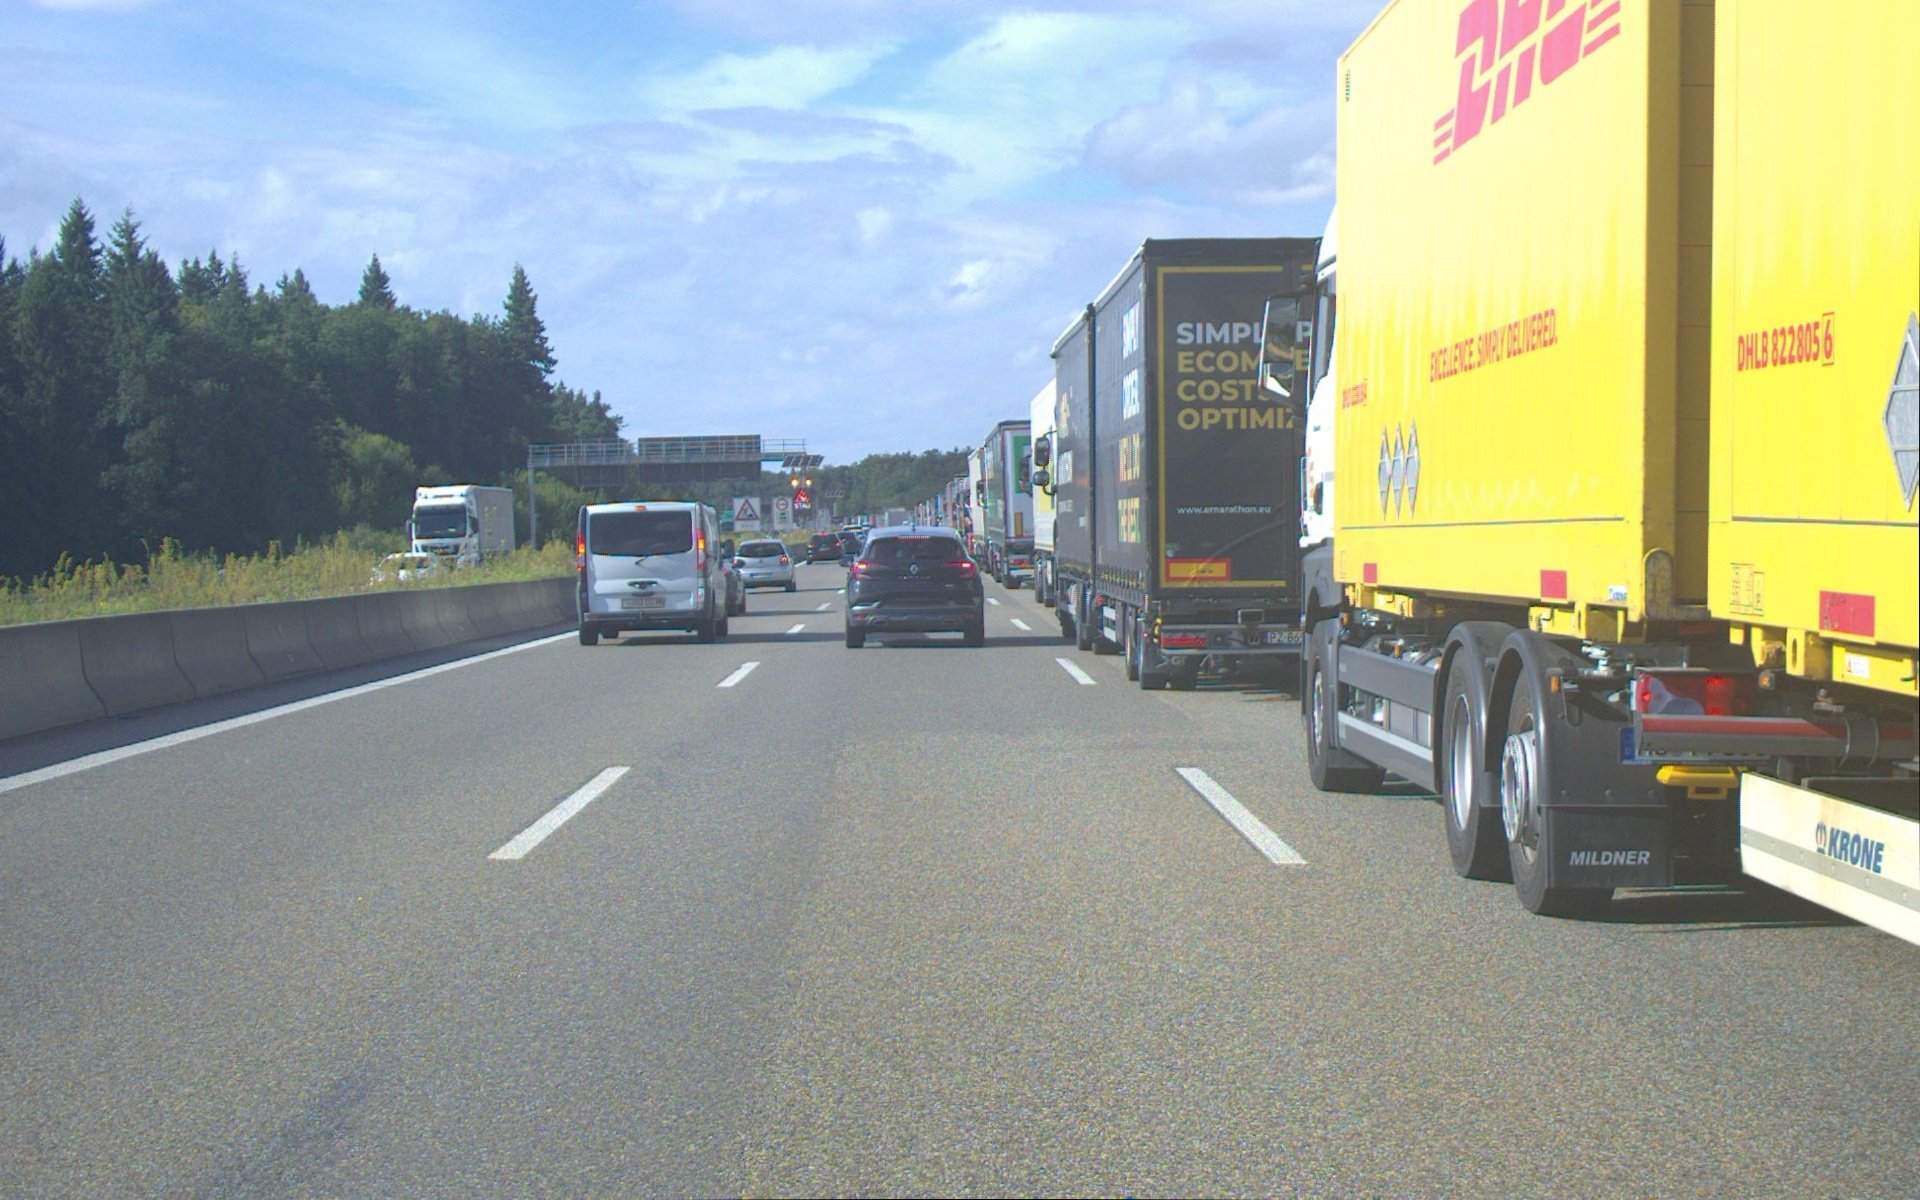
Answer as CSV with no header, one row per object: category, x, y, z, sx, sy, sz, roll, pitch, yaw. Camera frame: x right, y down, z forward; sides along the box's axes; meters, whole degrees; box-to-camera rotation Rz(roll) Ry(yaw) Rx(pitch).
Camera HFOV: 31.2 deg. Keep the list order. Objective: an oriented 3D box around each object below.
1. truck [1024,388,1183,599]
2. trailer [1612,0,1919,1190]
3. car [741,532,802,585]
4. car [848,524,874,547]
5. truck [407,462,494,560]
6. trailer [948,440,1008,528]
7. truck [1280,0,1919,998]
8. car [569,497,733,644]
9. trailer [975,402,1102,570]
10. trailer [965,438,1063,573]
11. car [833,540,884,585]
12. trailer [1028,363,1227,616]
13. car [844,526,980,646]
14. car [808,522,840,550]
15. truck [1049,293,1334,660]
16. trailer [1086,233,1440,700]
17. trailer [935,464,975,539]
truck,2.760,-2.065,67.804,2.802,3.925,5.826,-1,1,0
trailer,3.403,-0.661,6.582,2.412,4.054,8.927,1,1,-1
car,-5.105,-1.129,93.326,1.500,1.391,3.476,1,1,-1
car,-5.588,-3.658,194.577,1.434,1.305,3.534,1,1,-1
truck,-21.436,-3.740,144.963,2.819,3.962,5.834,-2,1,-1
trailer,0.896,-5.929,177.883,2.802,4.229,11.057,-3,1,0
truck,3.240,-0.857,15.885,2.412,4.054,9.666,1,1,-1
car,-4.359,-0.449,49.224,1.933,1.972,5.099,1,1,-1
trailer,1.866,-2.808,87.590,2.661,3.855,13.396,-2,1,-1
trailer,1.696,-3.091,113.422,2.703,4.067,12.945,-3,1,-1
car,-3.228,-1.213,109.517,1.581,1.391,3.208,1,1,-2
trailer,2.760,-1.854,60.675,2.792,3.925,13.070,-1,1,0
car,-0.629,-0.214,45.207,1.696,1.478,4.160,1,1,-1
car,-6.437,-3.021,162.579,1.434,1.305,3.534,1,1,-1
truck,2.694,-1.457,43.118,2.740,4.024,10.203,1,1,-1
trailer,2.740,-1.264,33.654,2.716,3.947,8.712,1,2,0
trailer,-0.313,-5.792,204.067,2.150,4.244,8.441,-2,1,0
